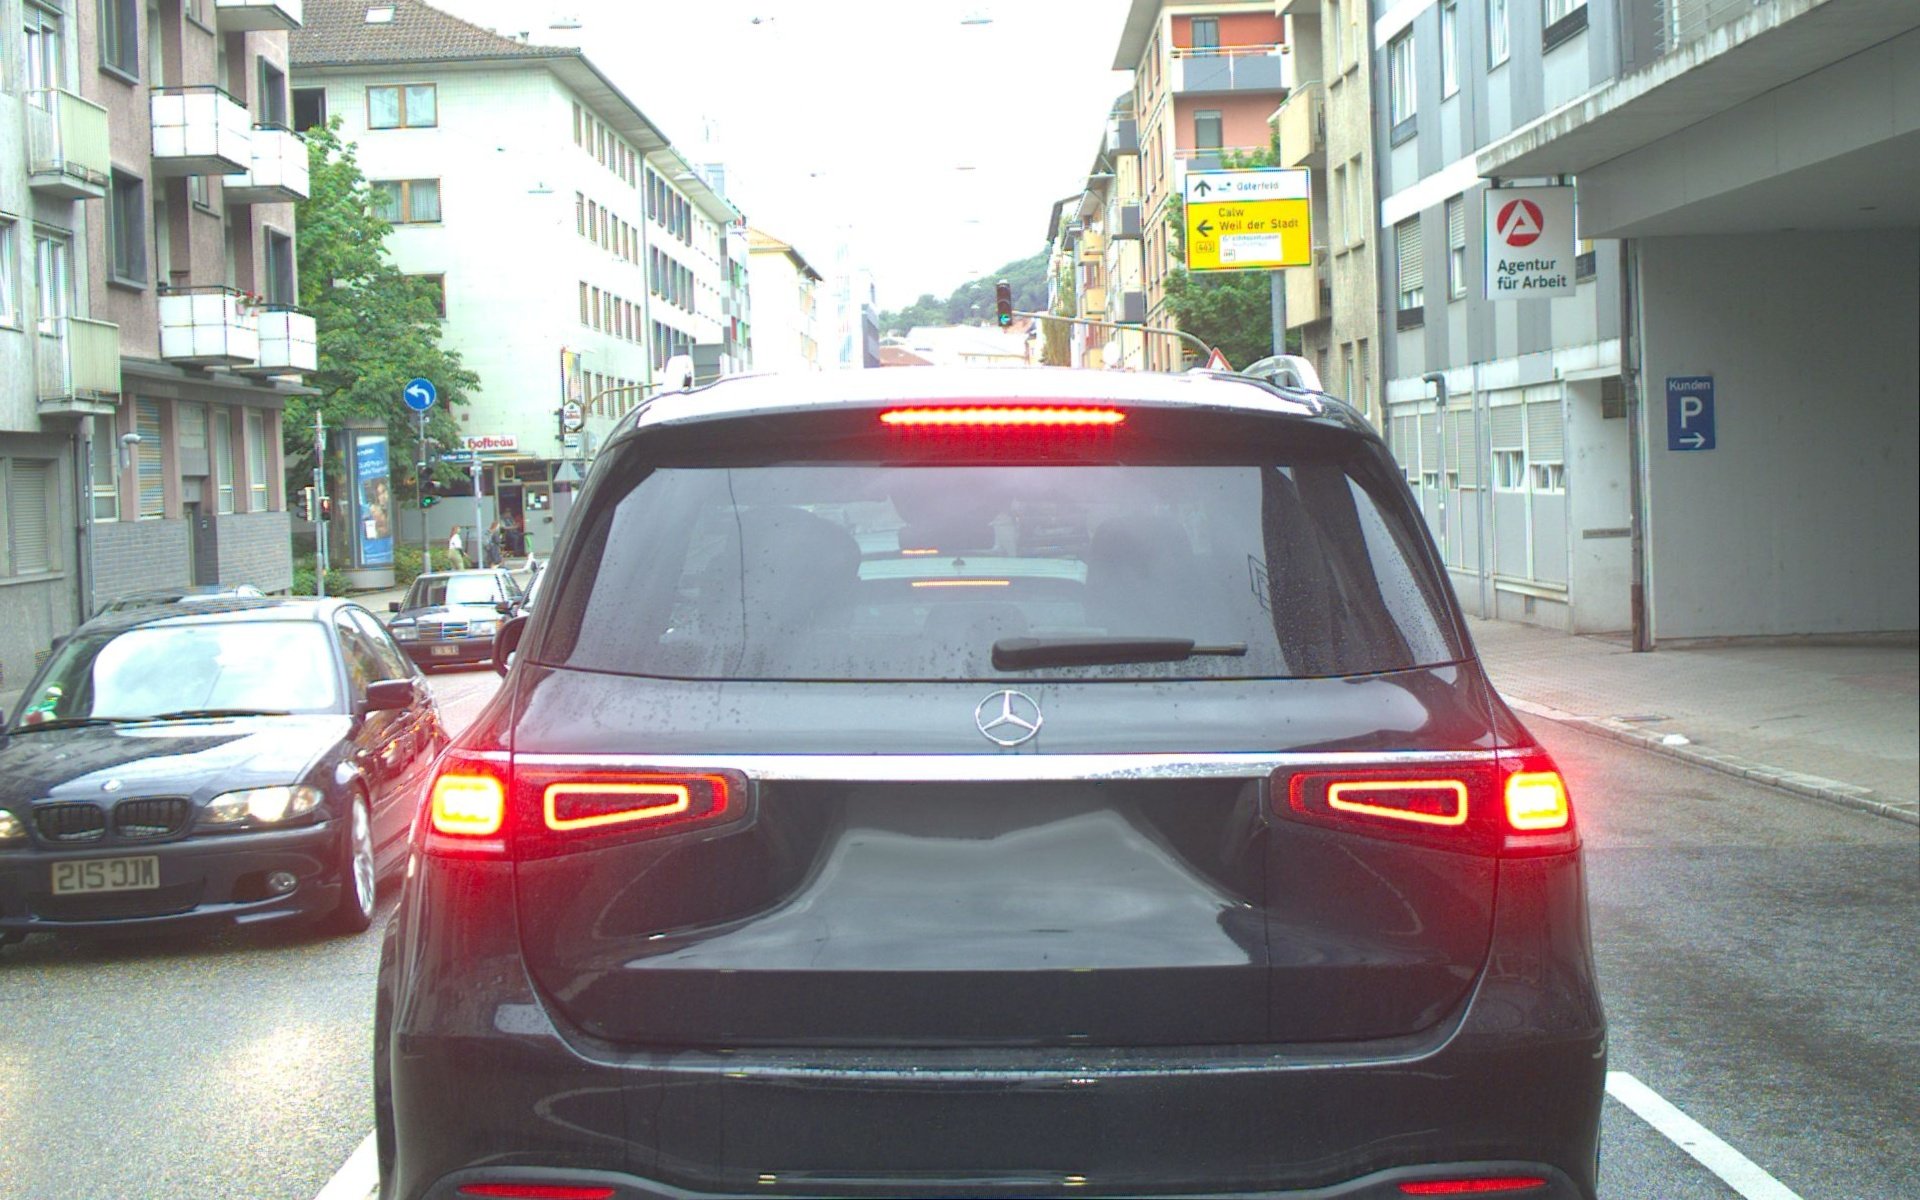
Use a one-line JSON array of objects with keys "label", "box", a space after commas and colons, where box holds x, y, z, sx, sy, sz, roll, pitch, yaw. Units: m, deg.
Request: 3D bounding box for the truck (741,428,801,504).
[{"label": "truck", "box": [-8.605, -6.070, 157.007, 2.479, 3.035, 9.921, -3, 1, -3]}]

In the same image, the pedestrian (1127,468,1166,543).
[{"label": "pedestrian", "box": [5.068, -2.560, 93.296, 0.923, 2.007, 0.706, -2, 1, -2]}]

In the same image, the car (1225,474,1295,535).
[{"label": "car", "box": [8.232, -2.619, 94.608, 1.671, 1.583, 3.330, -2, 1, 2]}]

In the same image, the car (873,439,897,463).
[{"label": "car", "box": [-5.464, -10.831, 250.151, 1.618, 1.534, 4.218, -3, 1, -3]}]

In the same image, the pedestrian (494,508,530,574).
[{"label": "pedestrian", "box": [-13.276, -1.751, 101.889, 0.923, 1.895, 0.706, -2, 1, -2]}]

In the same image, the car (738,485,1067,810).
[{"label": "car", "box": [-0.412, 0.240, 20.835, 1.751, 1.725, 4.218, -1, 1, -3]}]

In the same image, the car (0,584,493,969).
[{"label": "car", "box": [-3.221, 0.670, 15.083, 1.695, 1.365, 4.218, -4, 0, 0]}]

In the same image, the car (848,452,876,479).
[{"label": "car", "box": [-6.229, -8.573, 219.219, 1.618, 1.534, 4.218, -3, 1, -3]}]

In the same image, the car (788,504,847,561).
[{"label": "car", "box": [-4.220, -1.971, 101.221, 1.618, 1.534, 4.218, -3, 1, -3]}]

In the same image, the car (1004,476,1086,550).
[{"label": "car", "box": [2.180, -2.224, 88.986, 1.723, 1.754, 4.218, -3, 1, -3]}]

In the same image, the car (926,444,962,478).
[{"label": "car", "box": [-0.874, -7.286, 180.732, 1.618, 1.534, 4.218, -3, 1, -3]}]

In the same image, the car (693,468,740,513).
[{"label": "car", "box": [-9.311, -4.177, 131.590, 1.618, 1.534, 4.218, -3, 1, -3]}]

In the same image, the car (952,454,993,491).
[{"label": "car", "box": [0.570, -6.036, 162.597, 1.618, 1.534, 4.218, -3, 1, -3]}]

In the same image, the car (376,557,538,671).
[{"label": "car", "box": [-6.864, 0.152, 47.269, 1.598, 1.365, 4.363, -4, 1, -2]}]

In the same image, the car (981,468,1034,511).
[{"label": "car", "box": [1.704, -3.987, 124.477, 1.618, 1.382, 4.218, -3, 1, -3]}]

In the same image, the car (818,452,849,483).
[{"label": "car", "box": [-7.137, -7.458, 193.635, 1.618, 1.534, 4.218, -3, 1, -3]}]

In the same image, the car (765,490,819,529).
[{"label": "car", "box": [-6.183, -3.335, 126.744, 1.885, 1.260, 4.218, -3, 1, -3]}]

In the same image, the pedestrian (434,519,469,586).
[{"label": "pedestrian", "box": [-13.626, -1.287, 92.119, 0.636, 1.758, 0.773, -2, 1, 12]}]

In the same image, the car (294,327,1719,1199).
[{"label": "car", "box": [0.038, 0.508, 7.022, 1.985, 1.799, 4.390, 1, 1, -1]}]

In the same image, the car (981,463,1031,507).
[{"label": "car", "box": [1.800, -4.541, 136.305, 1.618, 1.534, 4.218, -3, 1, -3]}]

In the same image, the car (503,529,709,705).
[{"label": "car", "box": [-3.531, 0.151, 34.935, 1.694, 1.575, 4.218, -4, 0, -2]}]

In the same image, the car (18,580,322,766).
[{"label": "car", "box": [-6.780, 0.579, 29.943, 1.694, 1.365, 4.367, -4, 1, -2]}]
